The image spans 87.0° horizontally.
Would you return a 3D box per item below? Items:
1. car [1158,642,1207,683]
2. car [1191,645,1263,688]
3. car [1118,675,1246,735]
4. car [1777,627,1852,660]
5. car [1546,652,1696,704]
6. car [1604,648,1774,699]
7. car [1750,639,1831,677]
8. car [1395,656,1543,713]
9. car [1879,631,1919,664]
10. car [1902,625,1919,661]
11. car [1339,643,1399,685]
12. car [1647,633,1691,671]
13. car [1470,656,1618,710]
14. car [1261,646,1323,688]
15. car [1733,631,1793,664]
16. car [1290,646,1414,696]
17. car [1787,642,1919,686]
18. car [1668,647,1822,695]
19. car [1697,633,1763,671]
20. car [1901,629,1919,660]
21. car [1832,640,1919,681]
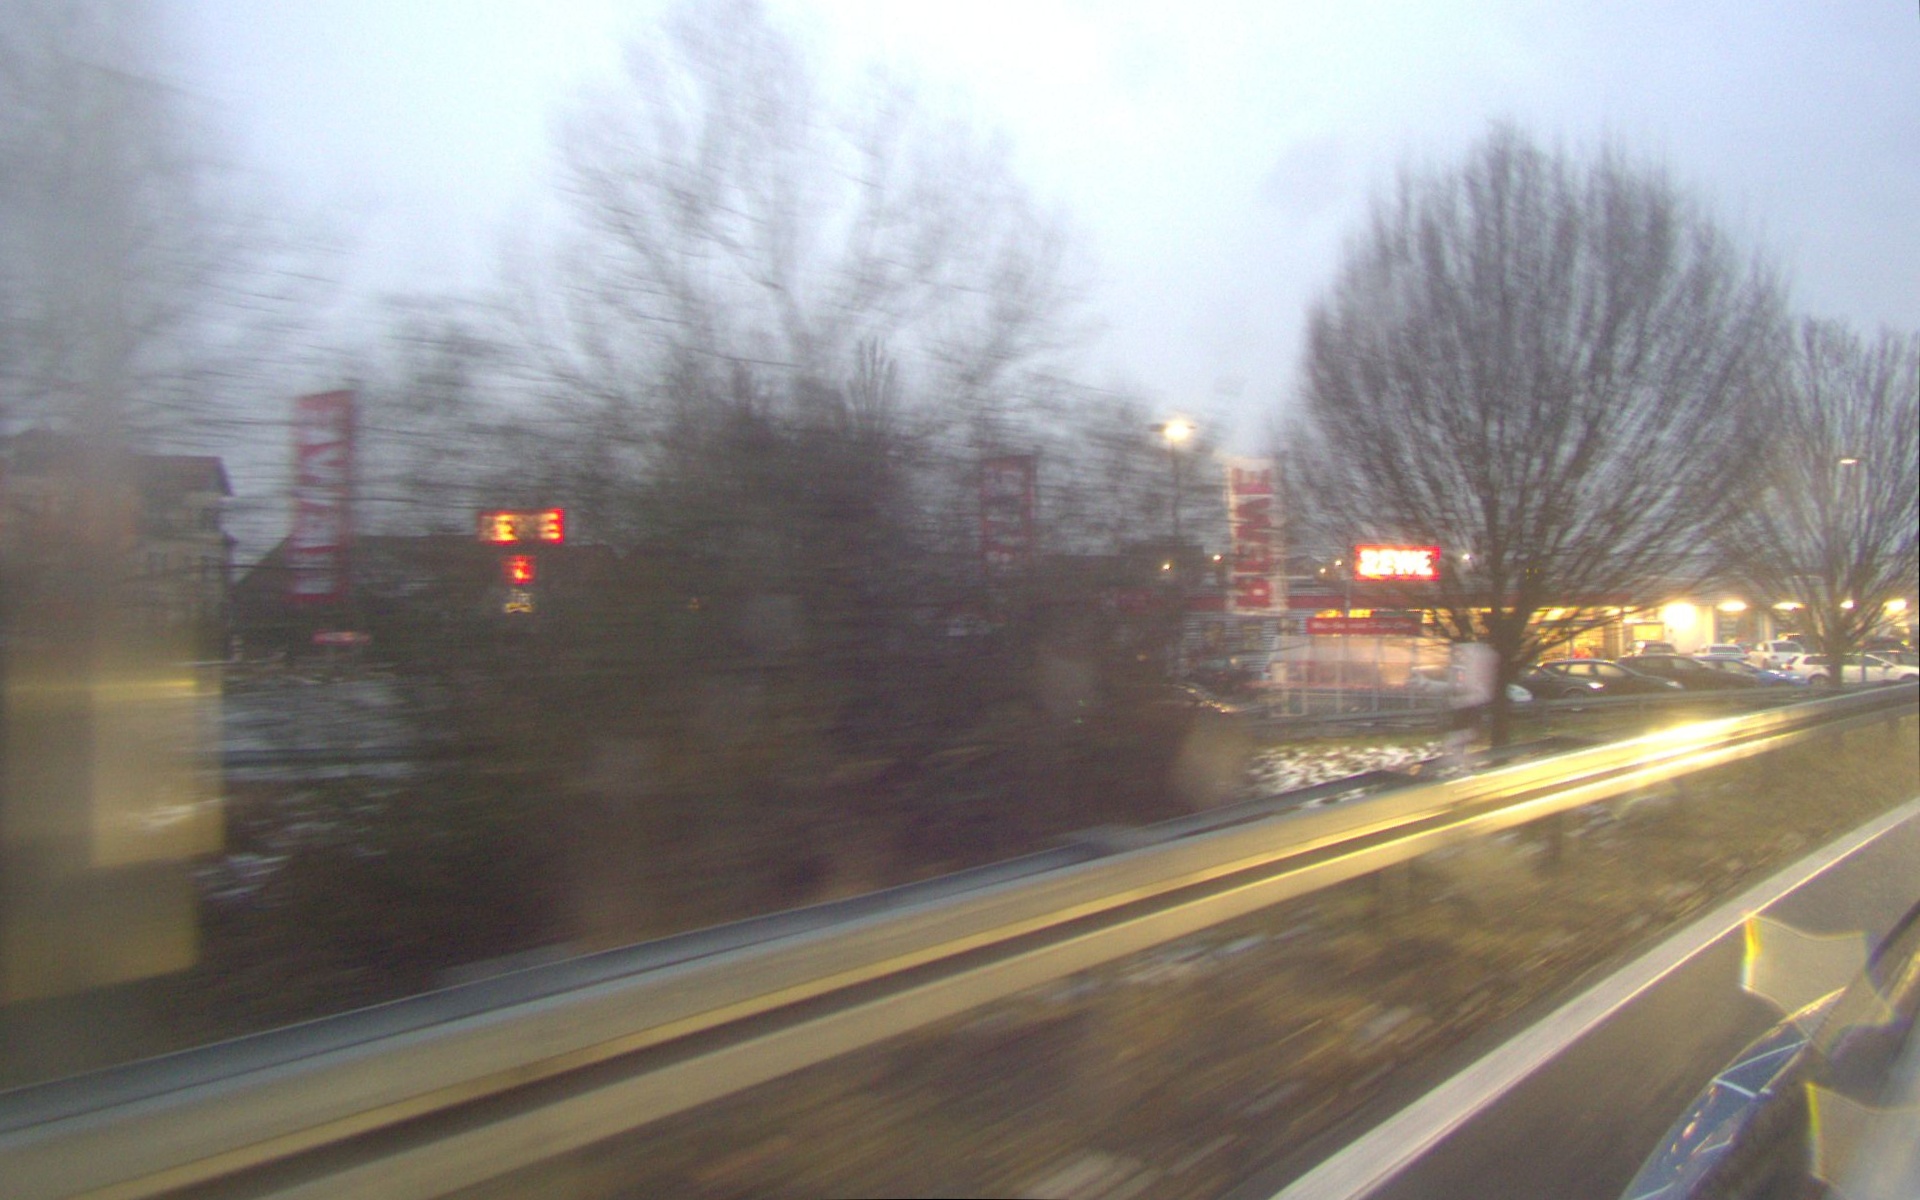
[{"bbox_3d":[9.796,2.704,44.424,1.550,1.504,3.734,0,0,22],"label":"car"},{"bbox_3d":[10.714,2.627,40.512,1.559,1.448,3.712,0,0,36],"label":"car"},{"bbox_3d":[6.024,2.807,27.446,3.177,1.330,1.378,0,0,27],"label":"car"},{"bbox_3d":[45.768,2.299,54.290,1.779,1.615,3.954,0,0,20],"label":"car"},{"bbox_3d":[21.545,2.516,33.169,3.963,1.438,1.615,0,0,29],"label":"car"},{"bbox_3d":[24.688,2.450,34.501,4.554,1.473,1.909,-1,0,33],"label":"car"},{"bbox_3d":[39.704,2.715,48.499,1.806,1.660,4.432,-1,-2,24],"label":"car"},{"bbox_3d":[15.572,2.556,31.079,3.963,1.457,1.779,0,0,29],"label":"car"},{"bbox_3d":[46.739,2.277,48.919,3.238,1.555,1.374,-2,-2,37],"label":"car"},{"bbox_3d":[55.564,2.444,57.486,1.871,1.983,4.906,-2,-2,30],"label":"car"},{"bbox_3d":[17.110,2.637,42.227,1.731,1.443,4.270,0,0,30],"label":"car"},{"bbox_3d":[32.815,2.378,46.908,1.589,1.606,3.587,-1,0,35],"label":"car"},{"bbox_3d":[18.418,2.576,32.116,3.963,1.438,1.615,0,0,29],"label":"car"},{"bbox_3d":[13.472,2.673,40.992,1.557,1.448,3.718,0,0,32],"label":"car"},{"bbox_3d":[42.224,2.442,53.291,1.711,1.520,3.988,0,0,27],"label":"car"},{"bbox_3d":[14.230,2.554,36.787,3.950,1.622,1.727,0,0,-17],"label":"car"},{"bbox_3d":[34.200,2.393,38.016,4.673,1.414,1.881,0,1,35],"label":"car"},{"bbox_3d":[27.795,2.471,36.017,4.148,1.414,1.883,0,1,33],"label":"car"},{"bbox_3d":[36.006,2.391,47.422,1.790,1.555,4.496,-1,0,29],"label":"car"},{"bbox_3d":[49.926,2.261,51.604,1.700,1.536,3.234,-1,-1,22],"label":"car"},{"bbox_3d":[36.672,2.336,39.233,4.152,1.414,1.828,0,1,35],"label":"car"}]
